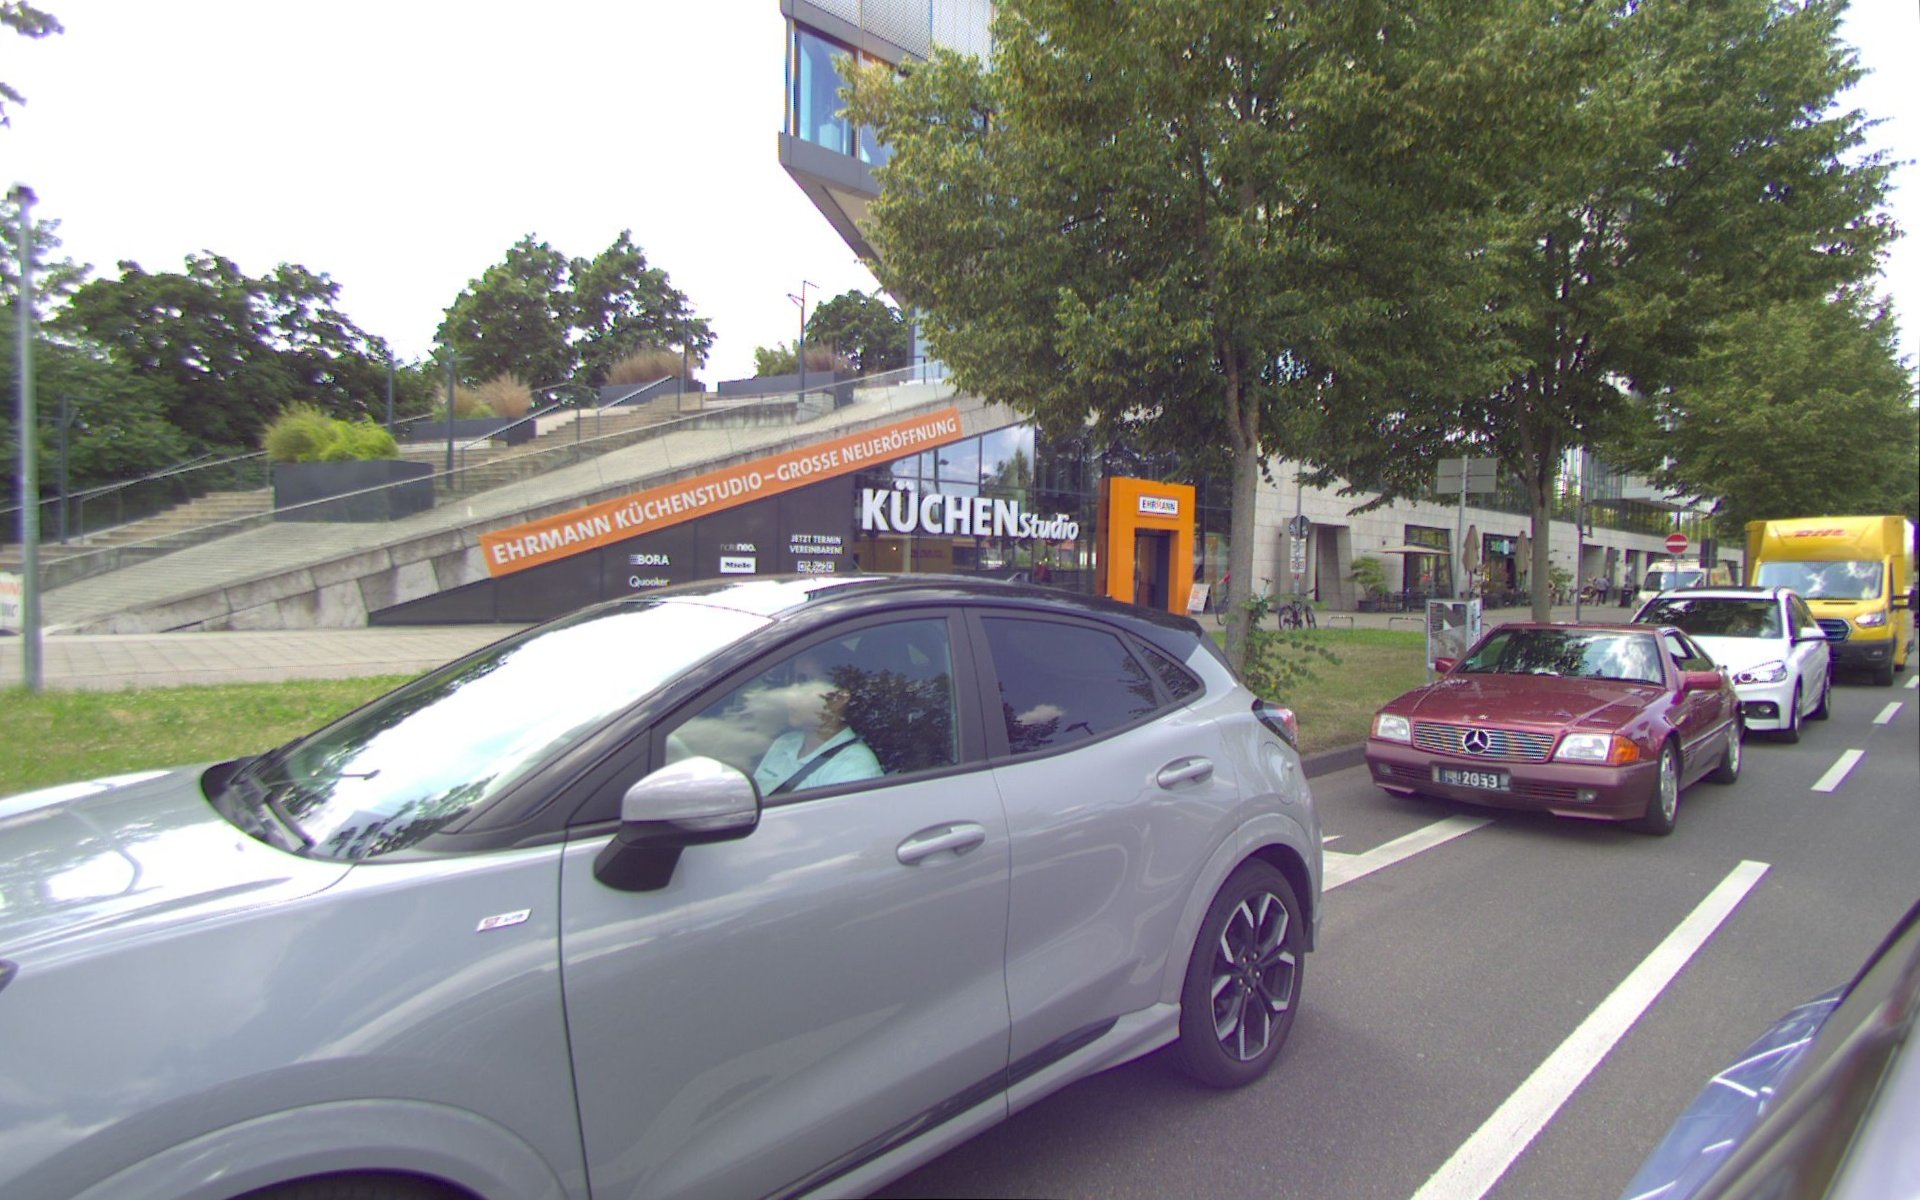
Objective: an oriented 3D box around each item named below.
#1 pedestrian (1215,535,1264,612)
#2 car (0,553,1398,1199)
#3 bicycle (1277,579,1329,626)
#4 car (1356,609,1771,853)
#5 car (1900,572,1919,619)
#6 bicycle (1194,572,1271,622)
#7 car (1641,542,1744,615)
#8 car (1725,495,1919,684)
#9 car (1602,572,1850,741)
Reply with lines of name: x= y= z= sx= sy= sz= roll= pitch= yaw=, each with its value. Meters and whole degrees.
pedestrian: x=7.655 y=-0.727 z=27.716 sx=1.211 sy=2.038 sz=0.753 roll=0 pitch=2 yaw=-44
car: x=-0.574 y=0.647 z=2.728 sx=4.022 sy=1.489 sz=1.672 roll=-1 pitch=3 yaw=-42
bicycle: x=8.384 y=0.056 z=24.685 sx=0.515 sy=1.102 sz=1.722 roll=3 pitch=2 yaw=42
car: x=4.689 y=0.742 z=7.593 sx=4.024 sy=1.277 sz=1.671 roll=0 pitch=0 yaw=-44
car: x=38.642 y=-0.185 z=39.884 sx=4.223 sy=1.783 sz=1.996 roll=-1 pitch=0 yaw=-42
bicycle: x=7.444 y=-0.106 z=27.542 sx=2.370 sy=1.259 sz=0.811 roll=-1 pitch=5 yaw=-43
car: x=26.543 y=-0.746 z=36.579 sx=2.156 sy=2.424 sz=6.178 roll=0 pitch=0 yaw=44
car: x=16.294 y=-0.212 z=18.780 sx=7.136 sy=2.889 sz=2.280 roll=-1 pitch=1 yaw=-44
car: x=8.980 y=0.531 z=11.737 sx=4.059 sy=1.619 sz=1.671 roll=0 pitch=0 yaw=-44
